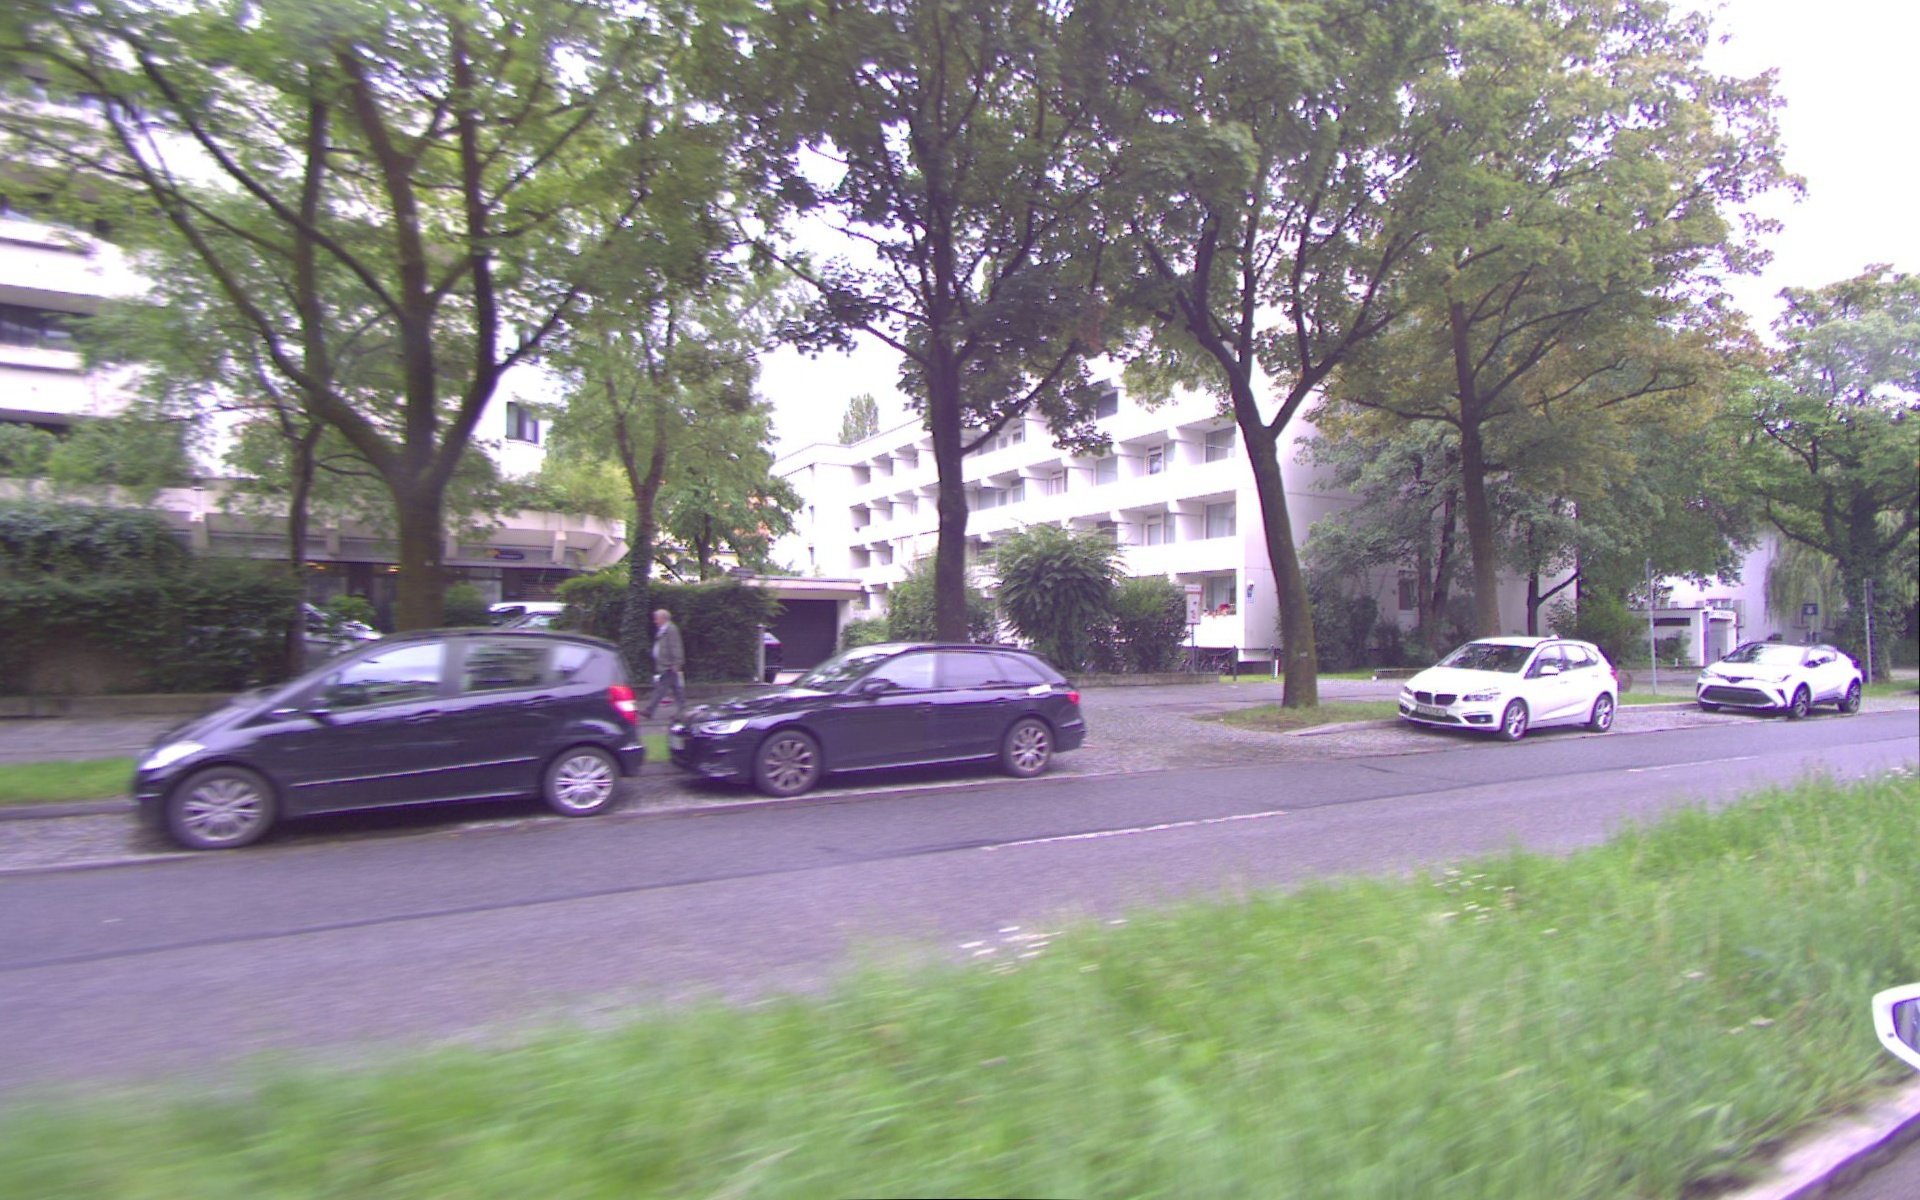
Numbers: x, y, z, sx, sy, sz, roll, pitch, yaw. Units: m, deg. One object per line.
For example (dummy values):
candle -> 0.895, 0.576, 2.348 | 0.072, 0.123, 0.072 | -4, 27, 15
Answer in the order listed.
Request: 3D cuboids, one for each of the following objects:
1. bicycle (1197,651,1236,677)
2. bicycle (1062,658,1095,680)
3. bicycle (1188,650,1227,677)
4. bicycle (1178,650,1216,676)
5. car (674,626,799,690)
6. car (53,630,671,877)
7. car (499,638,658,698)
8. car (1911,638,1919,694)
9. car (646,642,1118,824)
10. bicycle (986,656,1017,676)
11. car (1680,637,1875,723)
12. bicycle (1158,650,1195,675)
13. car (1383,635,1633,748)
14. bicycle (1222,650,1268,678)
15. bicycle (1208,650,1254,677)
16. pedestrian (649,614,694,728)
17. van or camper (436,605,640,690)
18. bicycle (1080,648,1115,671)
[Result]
bicycle -> 9.035, 2.244, 35.394 | 1.433, 0.912, 0.456 | 1, -2, -31
bicycle -> 4.977, 2.884, 42.146 | 1.433, 0.912, 0.456 | 1, -2, -31
bicycle -> 8.830, 2.258, 35.843 | 1.433, 0.912, 0.456 | 1, -2, -31
bicycle -> 8.580, 2.285, 36.297 | 1.433, 0.912, 0.456 | 1, -2, -31
car -> -5.552, 1.361, 24.626 | 1.841, 1.436, 3.957 | 1, -2, -31
car -> -4.793, 1.108, 8.638 | 4.160, 1.618, 1.678 | 1, 0, -30
car -> -8.364, 1.447, 22.028 | 3.089, 1.215, 1.449 | 1, -2, -30
car -> 28.867, 1.914, 28.738 | 3.046, 1.586, 1.681 | 1, 1, -32
car -> -0.748, 1.278, 11.024 | 4.888, 1.533, 1.752 | 1, 0, -30
bicycle -> 1.960, 3.100, 47.105 | 1.433, 0.912, 0.456 | 1, -2, -31
car -> 17.944, 1.667, 22.010 | 4.438, 1.631, 1.824 | 1, 0, -30
bicycle -> 7.979, 2.296, 37.025 | 1.433, 0.912, 0.456 | 1, -2, -31
car -> 9.366, 1.447, 17.078 | 4.438, 1.616, 1.748 | 1, 0, -32
bicycle -> 9.788, 2.198, 34.493 | 1.745, 0.912, 0.474 | 1, -2, -31
bicycle -> 9.432, 2.189, 34.914 | 1.745, 0.912, 0.474 | 1, -2, -31
pedestrian -> -4.425, 1.072, 15.378 | 0.599, 1.678, 0.848 | 1, -2, -19
van or camper -> -10.203, 1.124, 24.335 | 4.378, 1.896, 1.848 | 1, -2, -30
bicycle -> 5.608, 2.417, 40.987 | 1.433, 0.912, 0.456 | 1, -2, -31
